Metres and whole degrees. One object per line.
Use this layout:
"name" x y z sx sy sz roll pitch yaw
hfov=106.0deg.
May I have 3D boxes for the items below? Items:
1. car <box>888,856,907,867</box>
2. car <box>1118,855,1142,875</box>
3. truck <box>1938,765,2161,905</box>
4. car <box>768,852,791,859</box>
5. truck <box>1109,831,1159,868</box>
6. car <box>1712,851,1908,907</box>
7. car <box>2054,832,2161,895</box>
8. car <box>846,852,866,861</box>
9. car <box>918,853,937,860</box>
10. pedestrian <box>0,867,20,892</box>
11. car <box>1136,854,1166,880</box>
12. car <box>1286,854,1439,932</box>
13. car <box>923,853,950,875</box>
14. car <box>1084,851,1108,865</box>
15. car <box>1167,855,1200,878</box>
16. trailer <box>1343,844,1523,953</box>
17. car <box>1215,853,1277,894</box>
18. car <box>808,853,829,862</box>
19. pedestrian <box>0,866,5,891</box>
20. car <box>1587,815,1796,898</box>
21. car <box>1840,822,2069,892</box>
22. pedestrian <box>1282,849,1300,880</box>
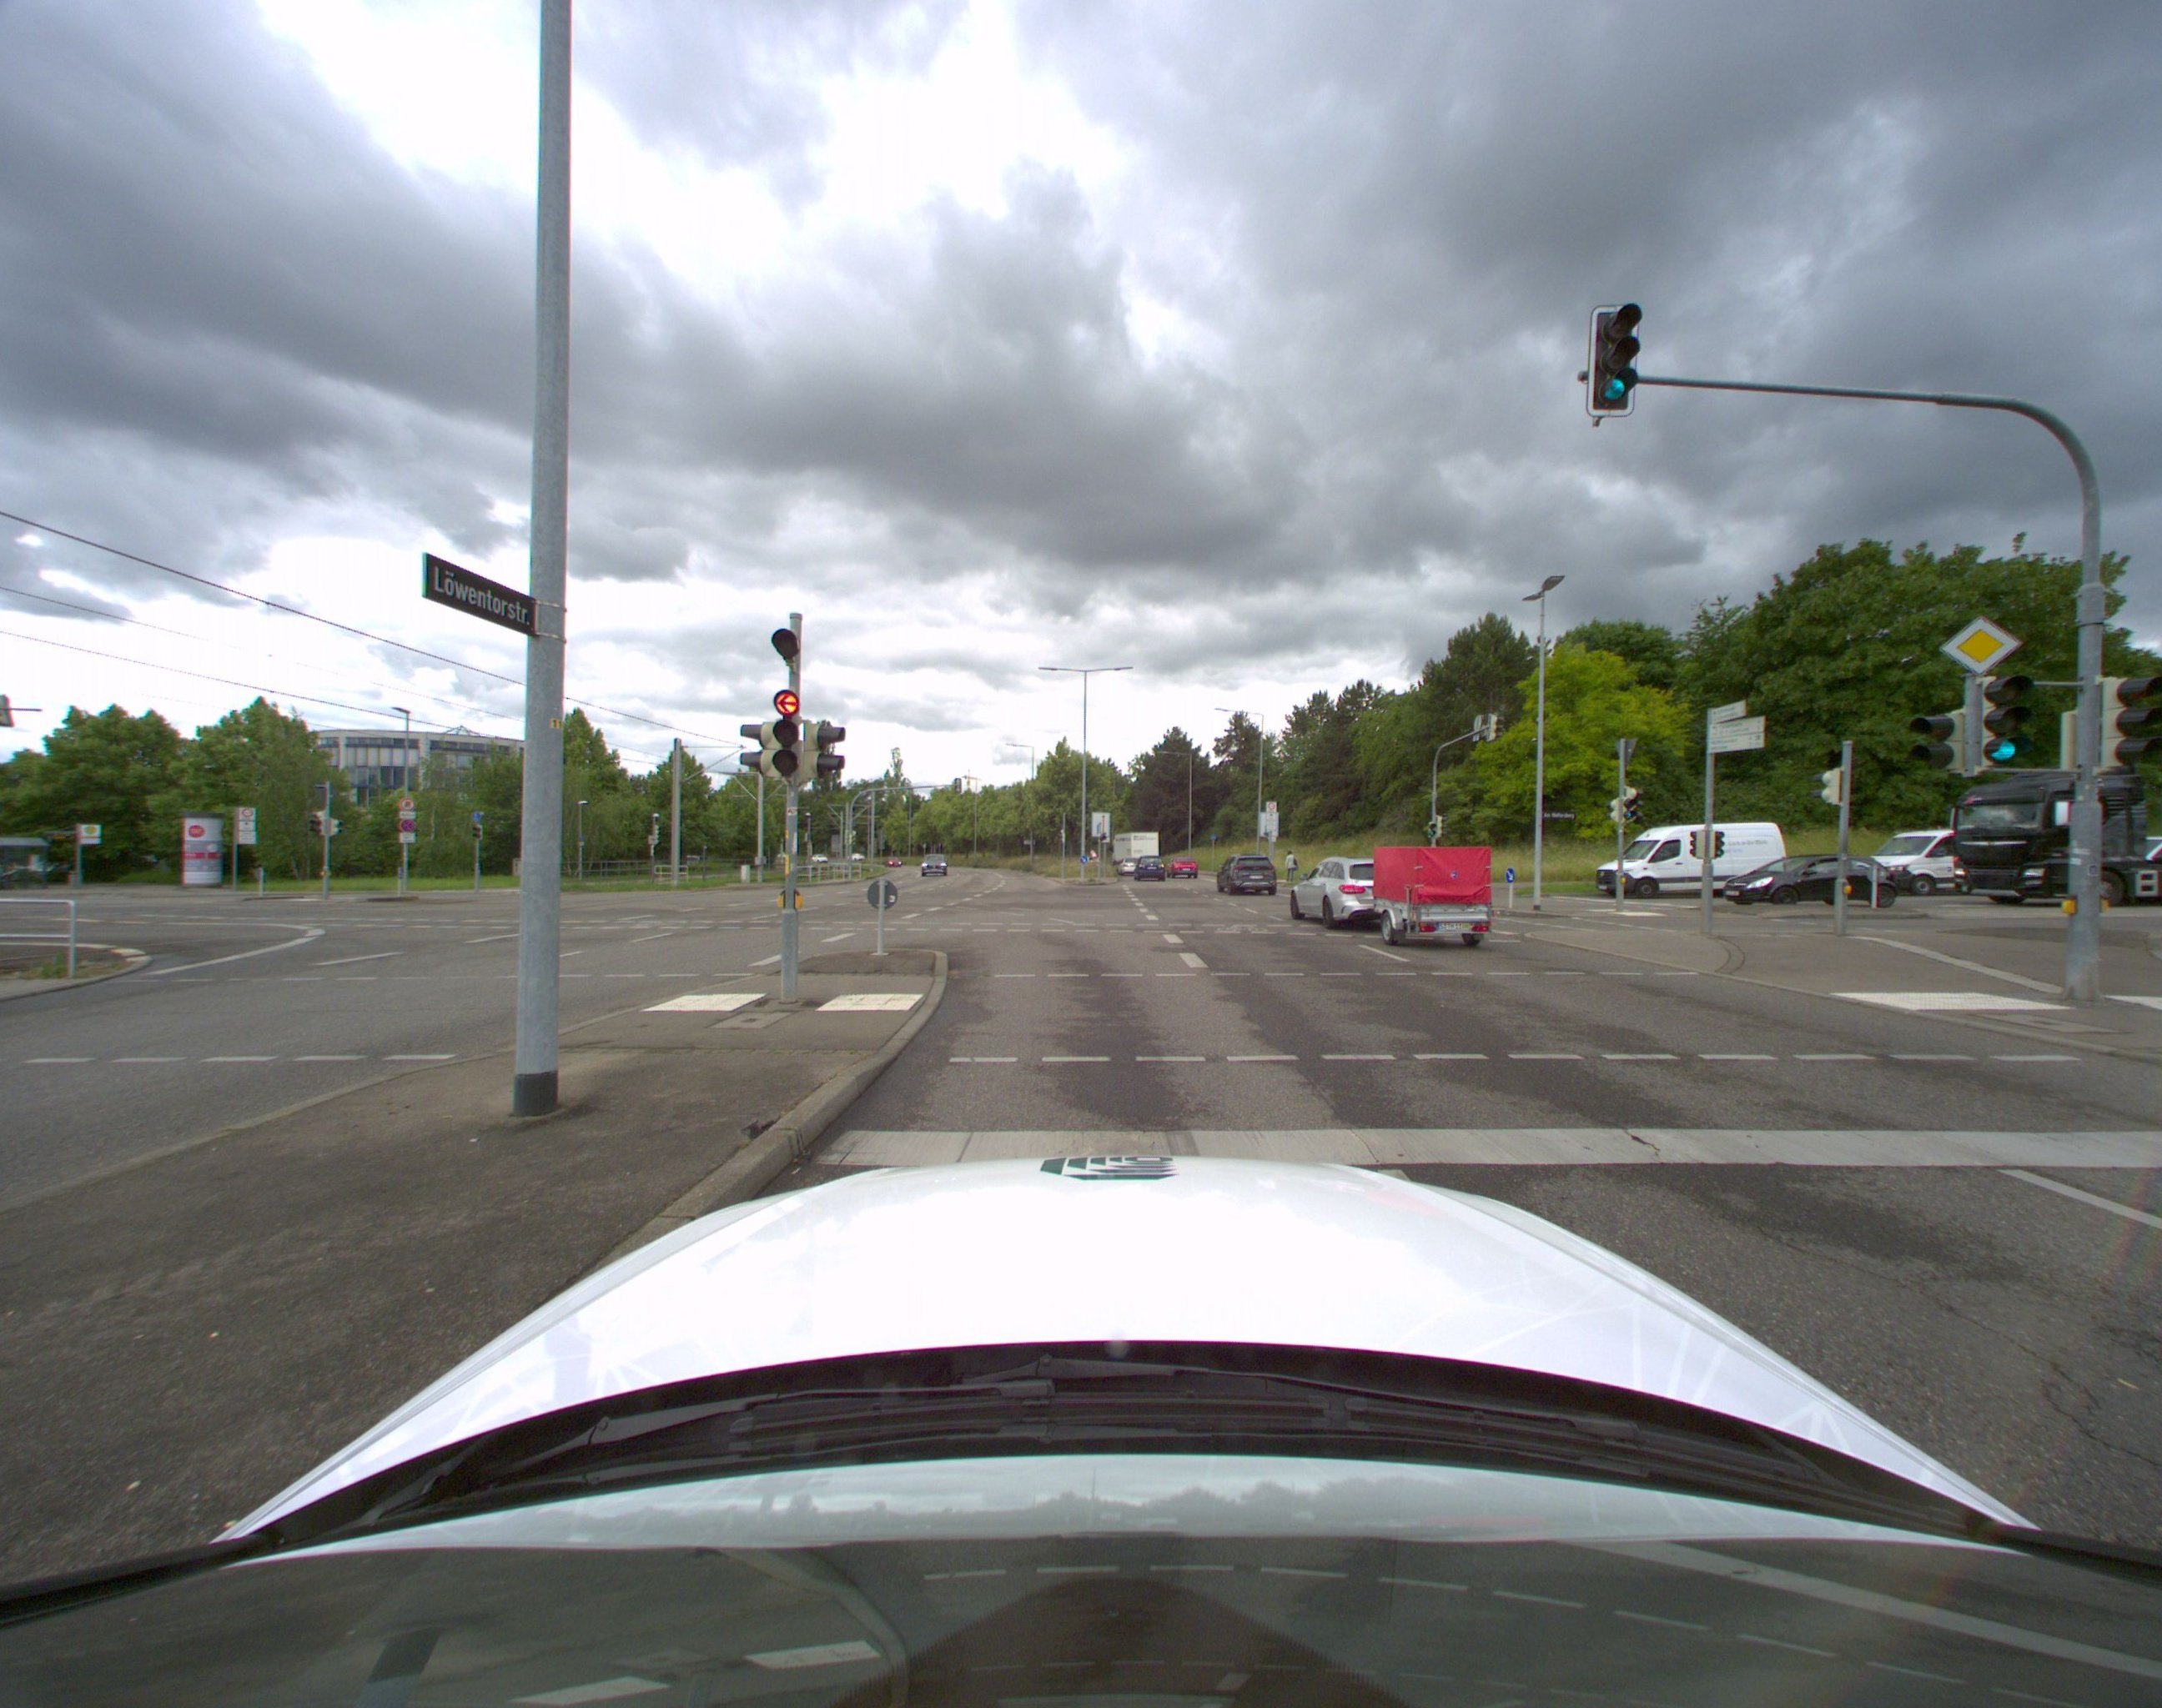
"car" -25.730 1.079 113.930 1.789 1.443 4.390 -1 0 -24
"car" 3.977 0.840 66.495 1.772 1.546 4.025 0 0 1
"truck" 27.933 -0.517 22.263 6.027 3.538 2.729 -1 0 2
"car" -65.305 0.399 176.205 4.475 1.446 1.796 -1 2 20
"truck" 4.985 -0.431 79.206 2.738 3.328 11.376 0 0 -8
"car" 20.279 0.667 22.766 3.905 1.436 1.732 -1 0 1
"car" 34.174 0.249 25.528 4.836 1.896 2.034 -1 0 1
"car" -45.060 0.506 163.174 3.949 1.750 2.013 0 0 40
"car" -33.573 0.594 177.900 1.761 1.546 4.050 0 0 32
"pedestrian" -56.450 1.322 42.745 0.774 1.304 0.666 0 0 15
"car" 4.423 0.772 50.997 1.769 1.546 4.032 0 0 7
"car" 5.815 0.732 17.423 1.772 1.421 4.459 0 0 1
"car" -10.802 0.743 61.098 1.776 1.546 4.214 0 0 -7
"car" 1.715 0.447 93.597 1.780 1.546 4.006 -1 0 -14
"car" 7.202 0.834 57.502 1.772 1.546 4.023 0 0 -1
"trailer" 5.772 0.660 13.753 1.759 1.616 3.044 0 0 0
"car" 6.663 0.766 33.295 1.772 1.546 4.025 0 0 1
"car" -47.953 0.694 148.610 4.370 1.629 1.846 -1 0 44
"pedestrian" -57.710 1.299 43.090 0.774 1.303 0.666 0 0 15
"car" 21.896 0.094 29.403 5.870 2.781 2.136 -1 0 2
"car" 30.681 0.108 28.757 5.677 2.289 2.136 -1 0 2
"pedestrian" 11.353 0.553 44.056 0.811 1.627 0.791 0 0 1
